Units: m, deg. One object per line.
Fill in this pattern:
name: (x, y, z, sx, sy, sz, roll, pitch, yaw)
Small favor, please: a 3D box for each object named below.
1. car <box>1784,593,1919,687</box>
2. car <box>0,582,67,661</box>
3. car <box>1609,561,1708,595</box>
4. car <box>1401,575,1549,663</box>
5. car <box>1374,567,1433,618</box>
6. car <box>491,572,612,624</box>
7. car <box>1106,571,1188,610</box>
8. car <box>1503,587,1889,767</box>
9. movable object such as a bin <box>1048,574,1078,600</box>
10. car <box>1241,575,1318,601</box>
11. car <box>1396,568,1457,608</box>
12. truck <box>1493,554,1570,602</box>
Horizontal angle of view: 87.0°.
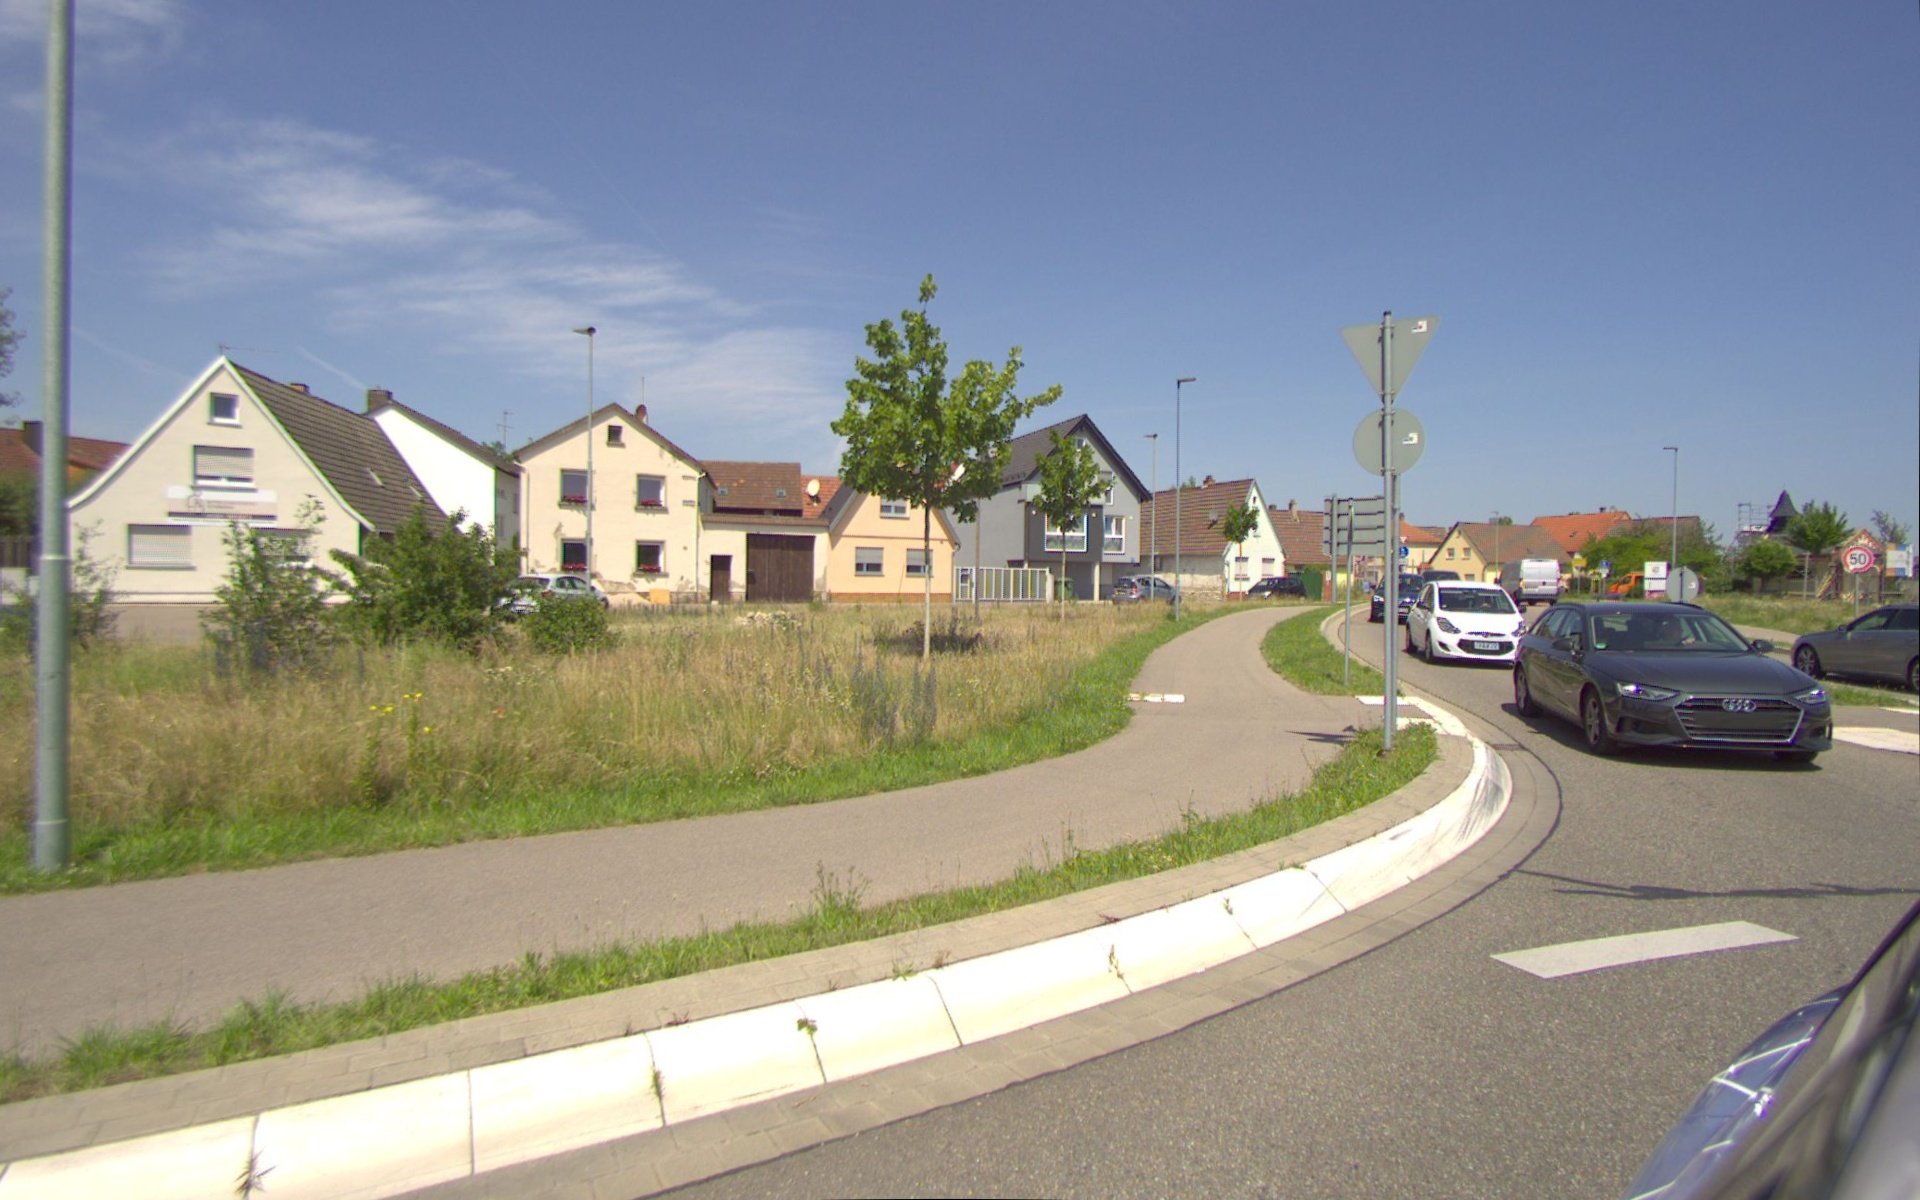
car: (16.412, 0.648, 17.011, 1.808, 1.509, 4.853, 1, 0, 10)
car: (-17.832, 0.360, 17.205, 3.930, 1.327, 1.745, -1, 2, -41)
car: (55.155, -1.746, 80.053, 2.307, 2.616, 6.150, 0, 1, -22)
car: (10.337, 0.299, 20.656, 1.843, 1.581, 4.499, 0, 1, 16)
car: (14.768, -0.275, 33.799, 1.702, 1.581, 4.119, 0, 1, 23)
car: (-12.057, -0.105, 30.164, 1.623, 1.410, 3.993, 1, 1, 7)
car: (9.336, -0.480, 50.327, 3.927, 1.853, 1.853, 0, 1, -38)
car: (7.389, 0.628, 10.793, 1.843, 1.452, 4.499, -1, 1, 16)
movable object such as a bin: (5.605, -0.702, 55.118, 1.180, 1.407, 1.086, 0, 1, -34)
car: (17.583, -0.675, 55.730, 3.688, 1.368, 1.859, 0, 1, -20)
car: (19.693, -0.520, 42.607, 1.854, 1.581, 4.674, 0, 1, 31)
truck: (31.708, -1.248, 56.355, 2.203, 2.537, 5.614, 1, 1, 13)
